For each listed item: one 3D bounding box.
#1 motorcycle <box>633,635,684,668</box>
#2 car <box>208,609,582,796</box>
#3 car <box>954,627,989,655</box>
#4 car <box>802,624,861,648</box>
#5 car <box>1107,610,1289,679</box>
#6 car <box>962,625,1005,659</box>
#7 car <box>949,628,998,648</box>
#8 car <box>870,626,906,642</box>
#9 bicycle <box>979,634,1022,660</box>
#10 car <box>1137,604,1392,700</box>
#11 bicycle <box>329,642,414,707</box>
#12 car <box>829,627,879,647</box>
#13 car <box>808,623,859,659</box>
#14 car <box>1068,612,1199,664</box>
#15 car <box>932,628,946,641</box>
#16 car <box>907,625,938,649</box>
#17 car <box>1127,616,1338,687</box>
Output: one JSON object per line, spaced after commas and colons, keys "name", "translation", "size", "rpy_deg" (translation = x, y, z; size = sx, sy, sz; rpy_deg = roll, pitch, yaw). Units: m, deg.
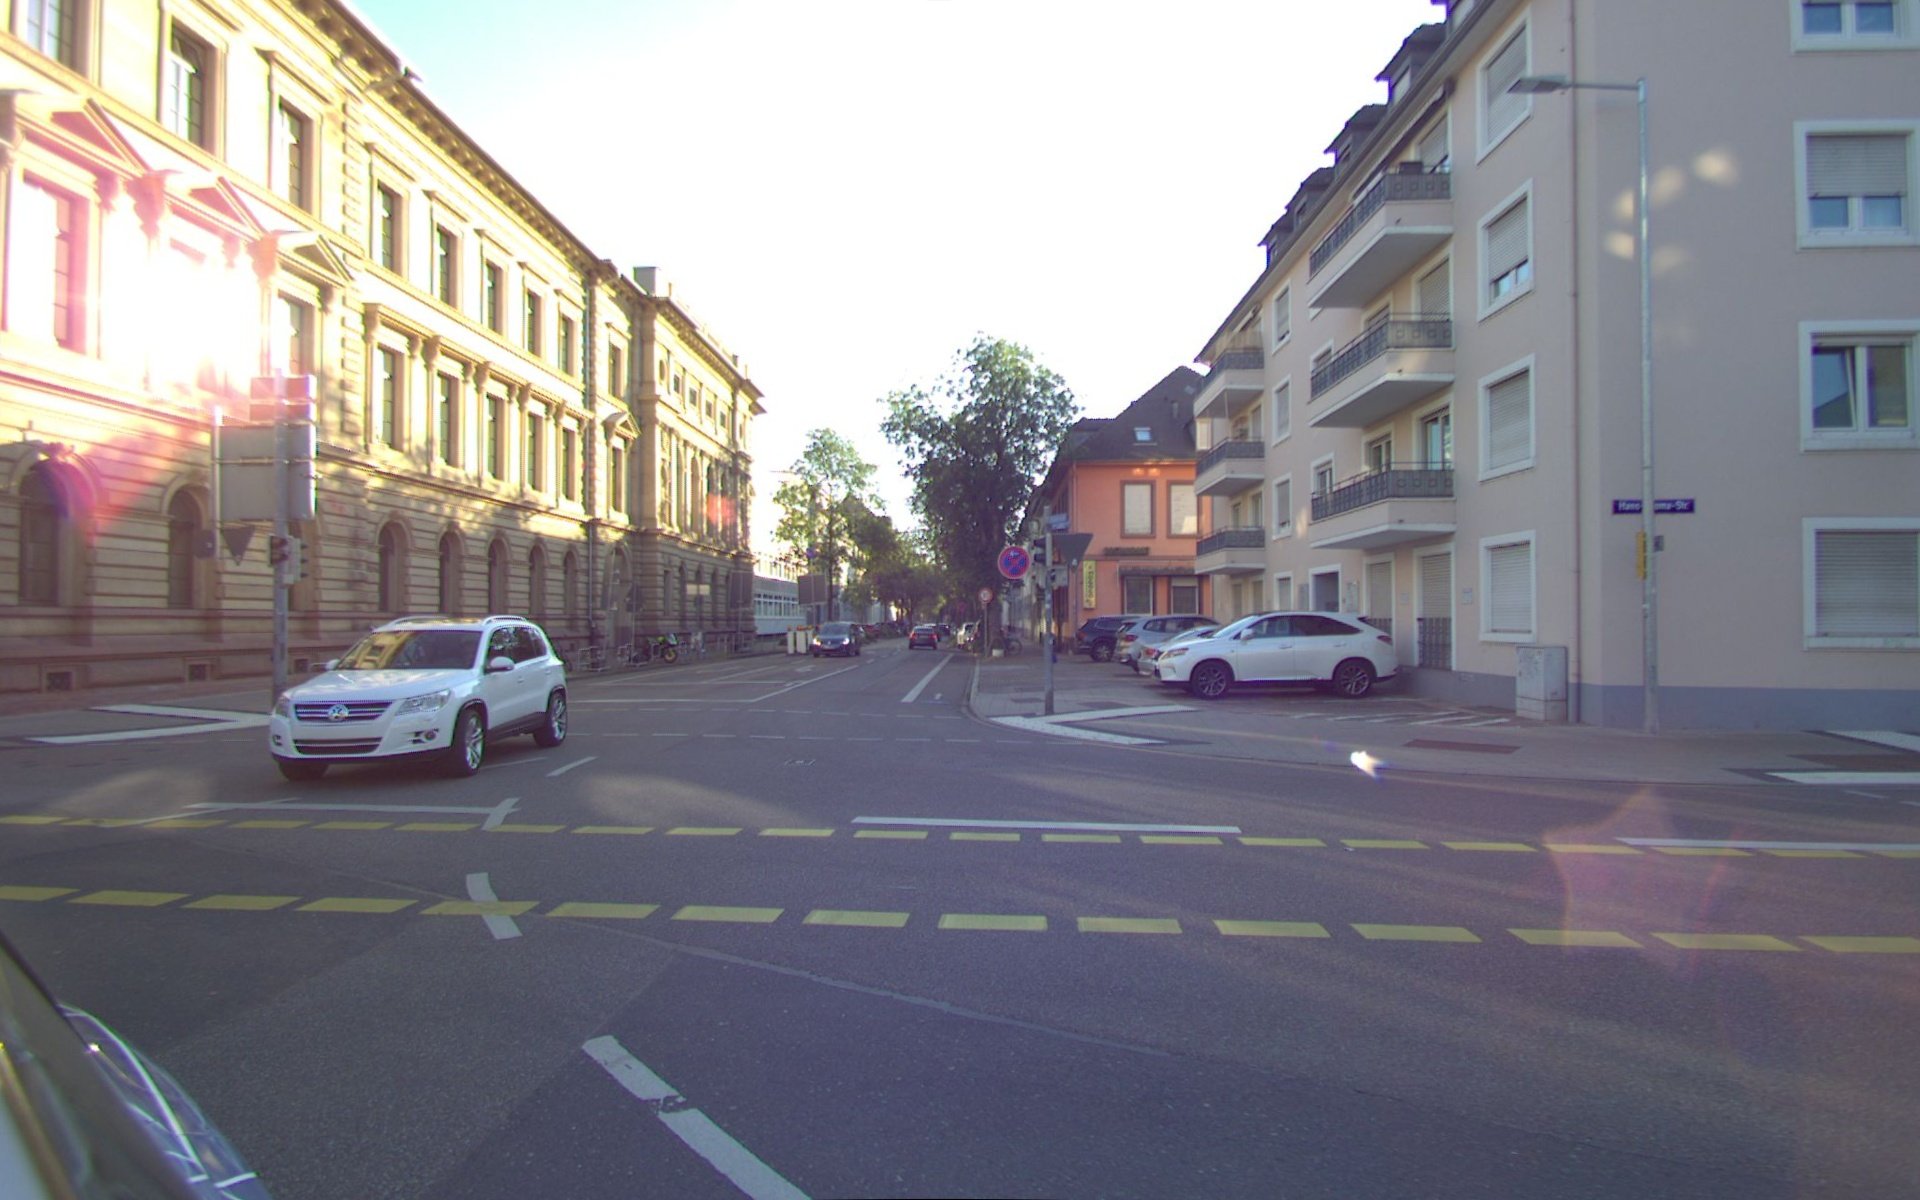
{"name": "motorcycle", "translation": [-11.991, 2.051, 40.279], "size": [2.097, 1.224, 0.702], "rpy_deg": [1, -2, 32]}
{"name": "car", "translation": [-5.990, 0.993, 11.498], "size": [1.929, 1.690, 4.546], "rpy_deg": [0, -2, -3]}
{"name": "car", "translation": [0.712, 2.668, 66.630], "size": [1.806, 1.681, 4.661], "rpy_deg": [-4, -1, -5]}
{"name": "car", "translation": [-10.078, 2.817, 79.619], "size": [4.310, 1.655, 2.054], "rpy_deg": [2, -2, 0]}
{"name": "car", "translation": [6.299, 1.185, 27.187], "size": [4.371, 1.617, 1.915], "rpy_deg": [-2, -2, 1]}
{"name": "car", "translation": [1.315, 2.381, 58.180], "size": [1.806, 1.772, 5.054], "rpy_deg": [-4, -1, -5]}
{"name": "car", "translation": [1.163, 3.284, 88.083], "size": [4.173, 1.703, 1.801], "rpy_deg": [0, -2, 0]}
{"name": "car", "translation": [-8.859, 4.152, 125.046], "size": [4.309, 1.888, 1.733], "rpy_deg": [1, -2, 0]}
{"name": "bicycle", "translation": [1.809, 2.071, 45.036], "size": [1.844, 1.112, 0.611], "rpy_deg": [-1, -2, -4]}
{"name": "car", "translation": [5.916, 1.017, 20.094], "size": [4.393, 1.653, 1.941], "rpy_deg": [-2, -2, 1]}
{"name": "bicycle", "translation": [-12.028, 1.494, 20.752], "size": [0.576, 1.197, 1.919], "rpy_deg": [0, 0, 2]}
{"name": "car", "translation": [-9.460, 3.324, 90.510], "size": [4.309, 1.636, 1.733], "rpy_deg": [2, -2, 0]}
{"name": "car", "translation": [-5.849, 1.902, 47.235], "size": [1.925, 1.567, 3.999], "rpy_deg": [0, -2, 0]}
{"name": "car", "translation": [6.276, 1.380, 36.963], "size": [4.371, 1.678, 1.863], "rpy_deg": [-2, -2, 1]}
{"name": "car", "translation": [-2.426, 3.976, 117.151], "size": [1.639, 1.483, 3.854], "rpy_deg": [1, -2, -2]}
{"name": "car", "translation": [-2.377, 2.324, 64.775], "size": [1.763, 1.470, 4.421], "rpy_deg": [0, -1, 1]}
{"name": "car", "translation": [6.063, 1.153, 22.848], "size": [4.221, 1.391, 1.735], "rpy_deg": [-2, -2, 1]}
